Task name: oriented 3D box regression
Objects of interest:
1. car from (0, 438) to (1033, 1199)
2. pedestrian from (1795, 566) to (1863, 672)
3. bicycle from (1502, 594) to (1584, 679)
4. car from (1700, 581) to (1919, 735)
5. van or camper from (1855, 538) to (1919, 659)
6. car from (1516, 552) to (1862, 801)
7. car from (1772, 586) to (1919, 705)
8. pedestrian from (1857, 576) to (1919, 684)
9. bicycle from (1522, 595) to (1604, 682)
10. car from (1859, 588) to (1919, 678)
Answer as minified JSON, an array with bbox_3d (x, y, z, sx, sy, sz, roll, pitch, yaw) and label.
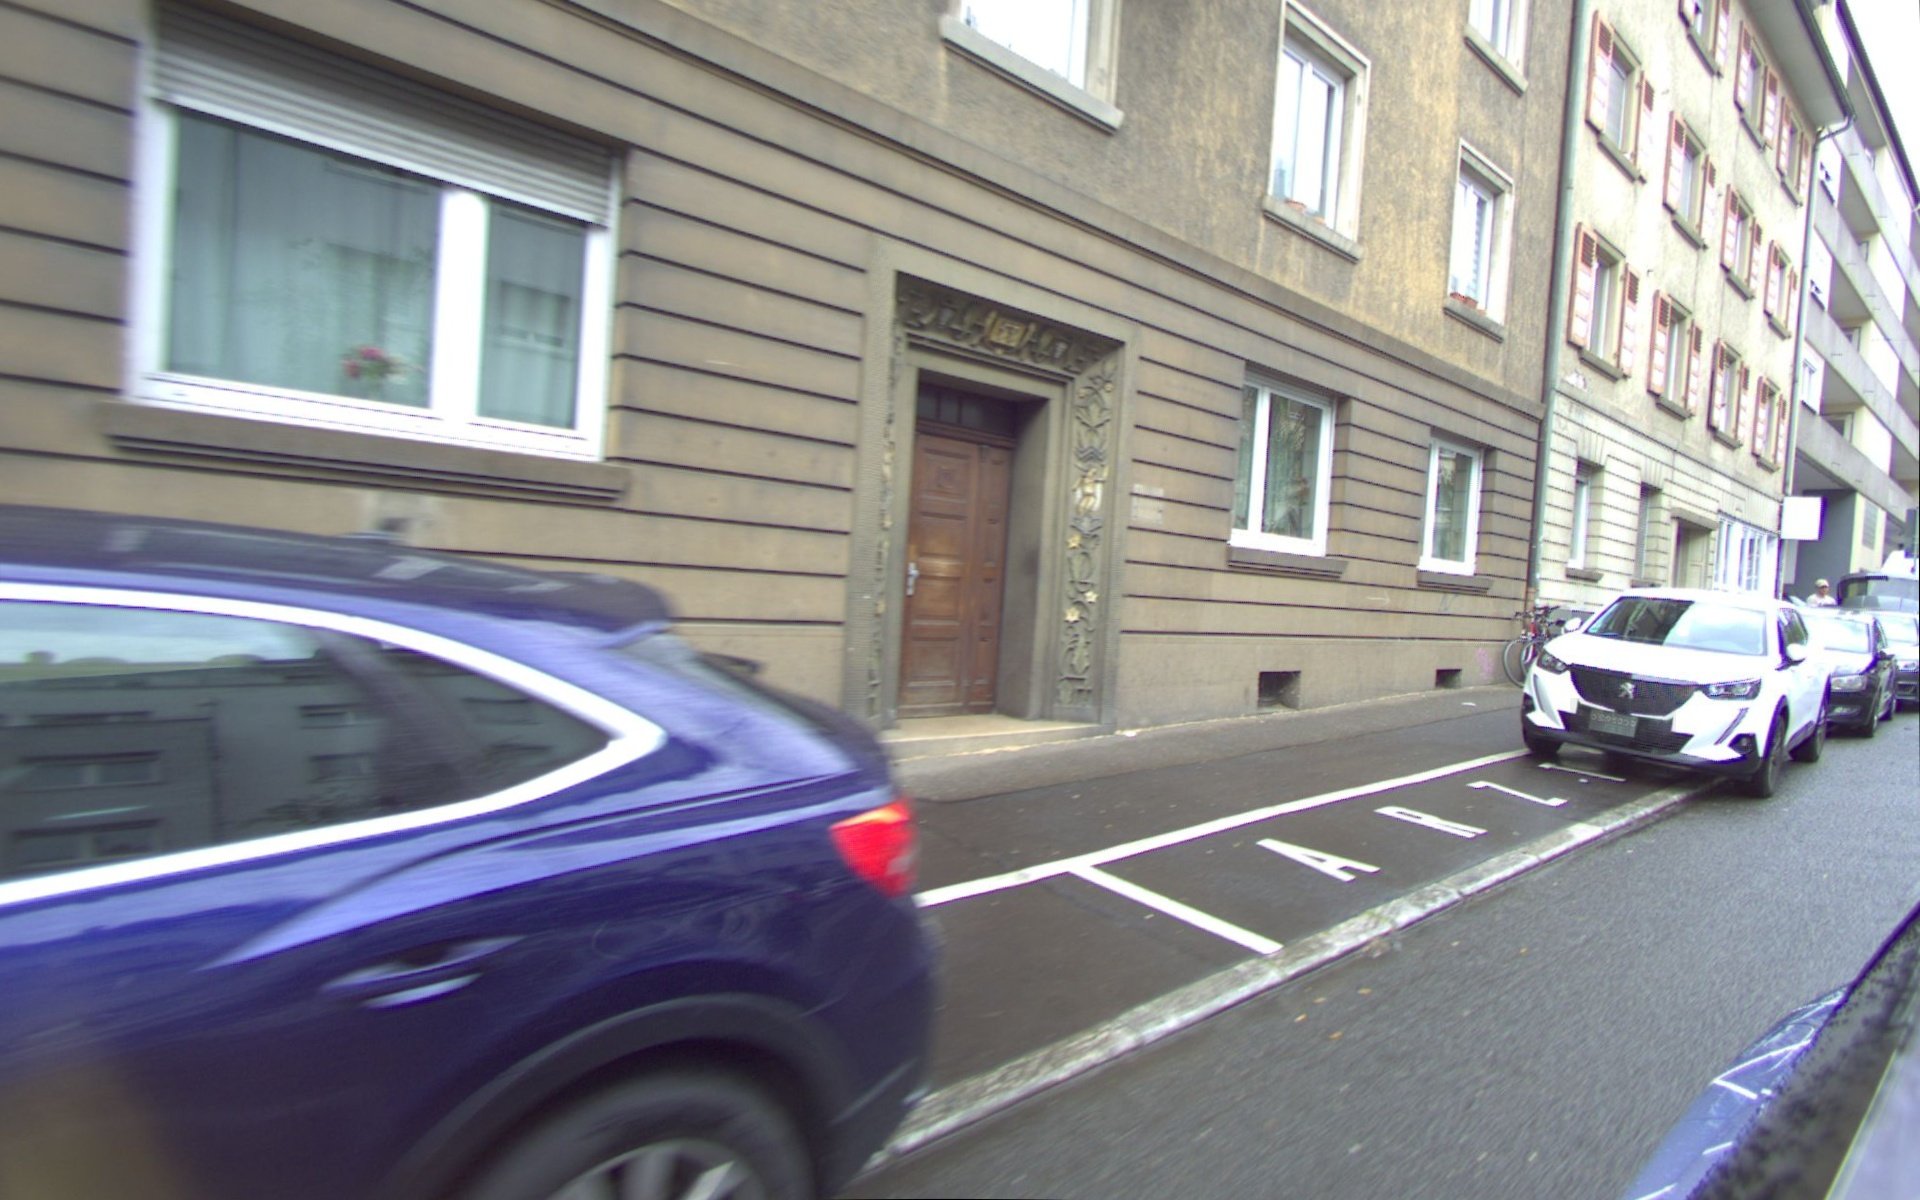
[{"bbox_3d":[-2.040,0.540,1.373,4.151,1.566,1.795,0,4,-41],"label":"car"},{"bbox_3d":[15.690,0.322,18.300,0.682,1.808,0.706,5,5,31],"label":"pedestrian"},{"bbox_3d":[8.171,0.477,14.151,2.069,1.086,0.248,-1,6,-41],"label":"bicycle"},{"bbox_3d":[10.783,0.603,12.689,3.672,1.495,1.636,0,7,-43],"label":"car"},{"bbox_3d":[24.487,-0.006,24.861,6.297,2.732,2.193,1,3,-35],"label":"van or camper"},{"bbox_3d":[6.721,0.501,9.154,4.124,1.657,1.635,0,6,-43],"label":"car"},{"bbox_3d":[14.170,0.590,15.591,4.508,1.497,1.781,-1,4,-41],"label":"car"},{"bbox_3d":[15.978,0.506,17.179,0.623,1.709,0.633,6,7,2],"label":"pedestrian"},{"bbox_3d":[8.350,0.499,13.977,2.069,1.086,0.248,-1,6,-41],"label":"bicycle"},{"bbox_3d":[18.304,0.588,19.002,4.121,1.497,1.780,-1,4,-44],"label":"car"}]
